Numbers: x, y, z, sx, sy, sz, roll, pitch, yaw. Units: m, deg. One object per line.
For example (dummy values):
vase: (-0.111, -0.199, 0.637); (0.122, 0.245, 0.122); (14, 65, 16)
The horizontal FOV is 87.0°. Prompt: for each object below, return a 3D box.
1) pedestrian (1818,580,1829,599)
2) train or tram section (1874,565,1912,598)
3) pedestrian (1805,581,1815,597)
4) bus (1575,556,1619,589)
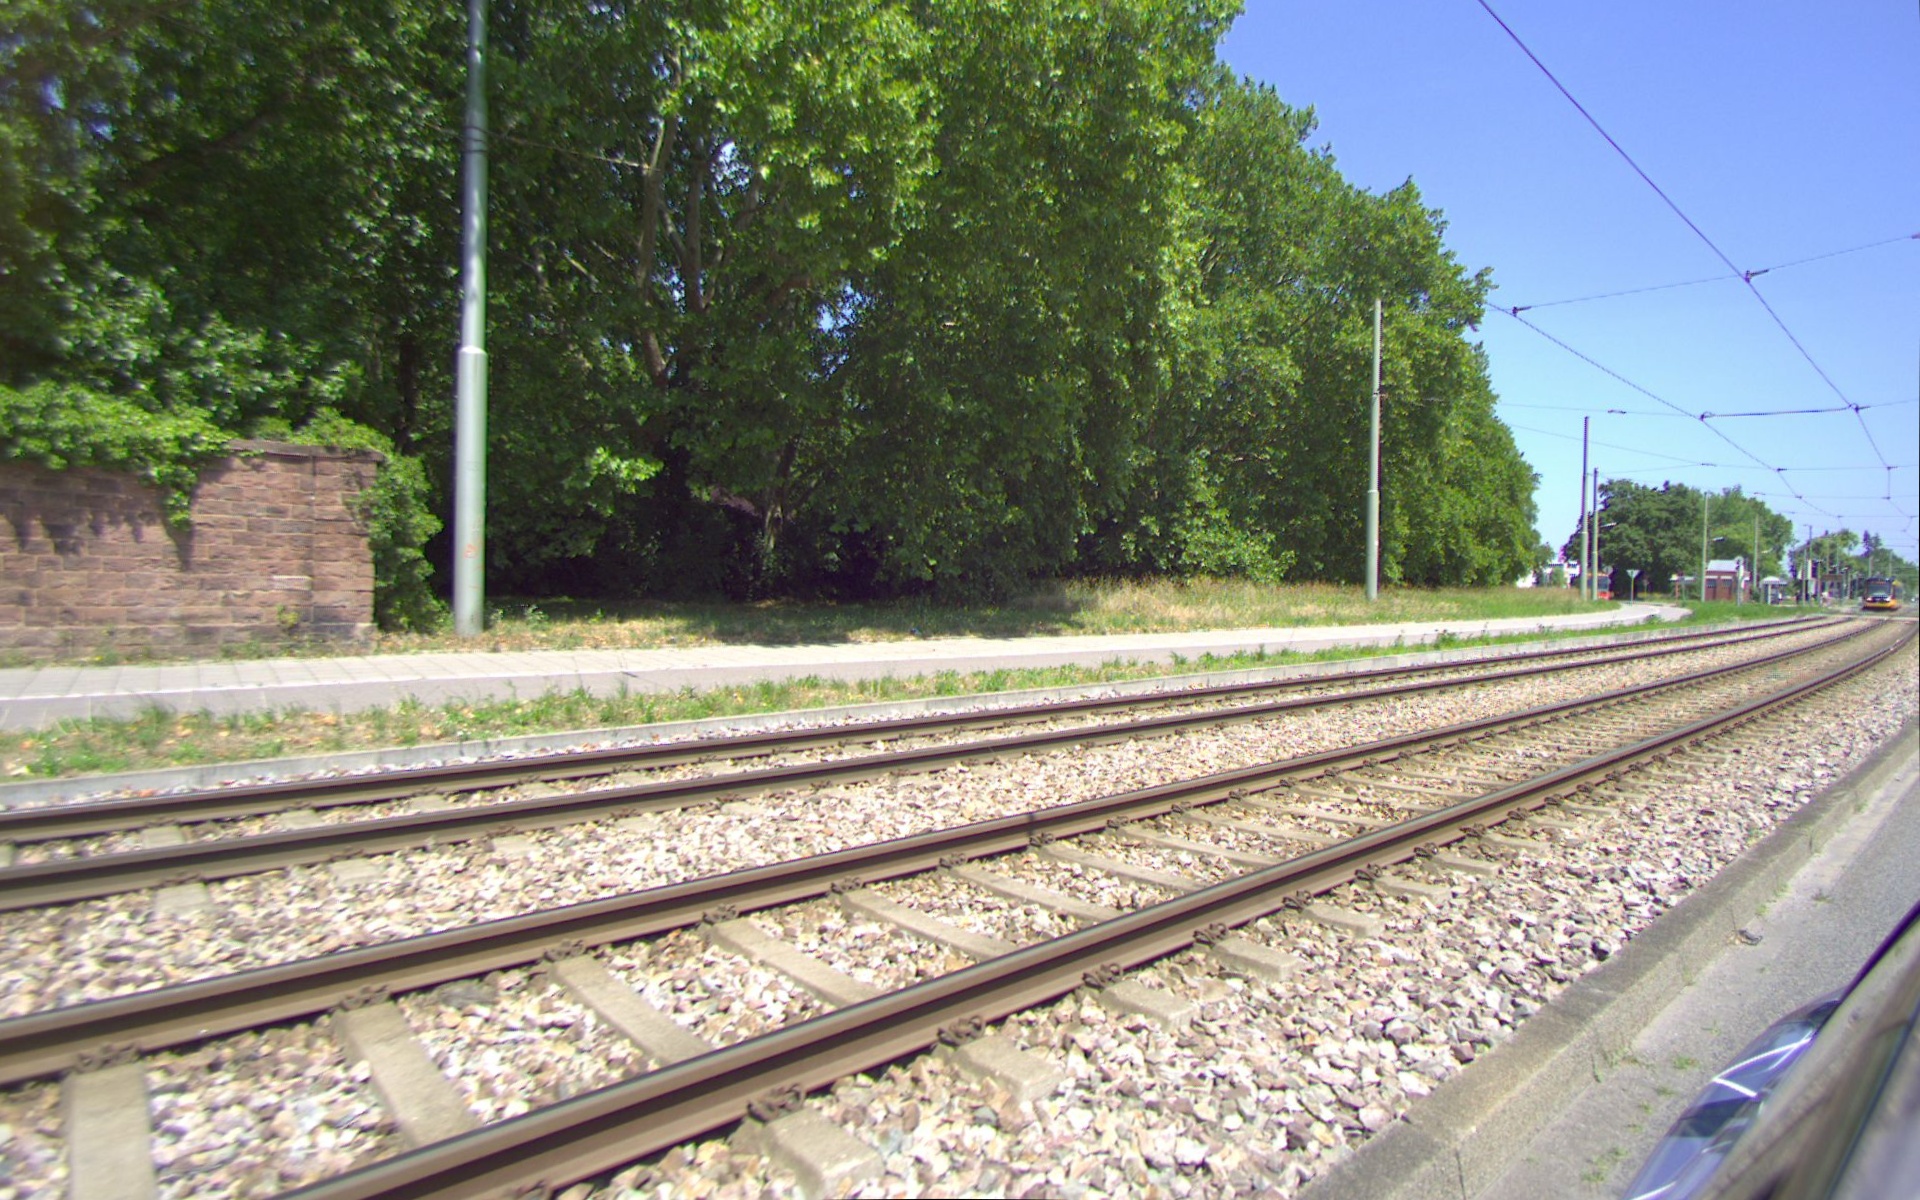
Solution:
pedestrian: (80.253, -0.971, 94.038); (0.632, 1.781, 0.807); (-1, 1, 32)
train or tram section: (98.972, -1.992, 107.309); (7.140, 3.364, 2.520); (-1, 2, -44)
pedestrian: (92.248, -1.213, 109.826); (0.646, 1.786, 0.707); (-1, 2, -42)
bus: (70.783, -3.069, 112.650); (2.740, 3.481, 12.337); (-1, 1, 26)
